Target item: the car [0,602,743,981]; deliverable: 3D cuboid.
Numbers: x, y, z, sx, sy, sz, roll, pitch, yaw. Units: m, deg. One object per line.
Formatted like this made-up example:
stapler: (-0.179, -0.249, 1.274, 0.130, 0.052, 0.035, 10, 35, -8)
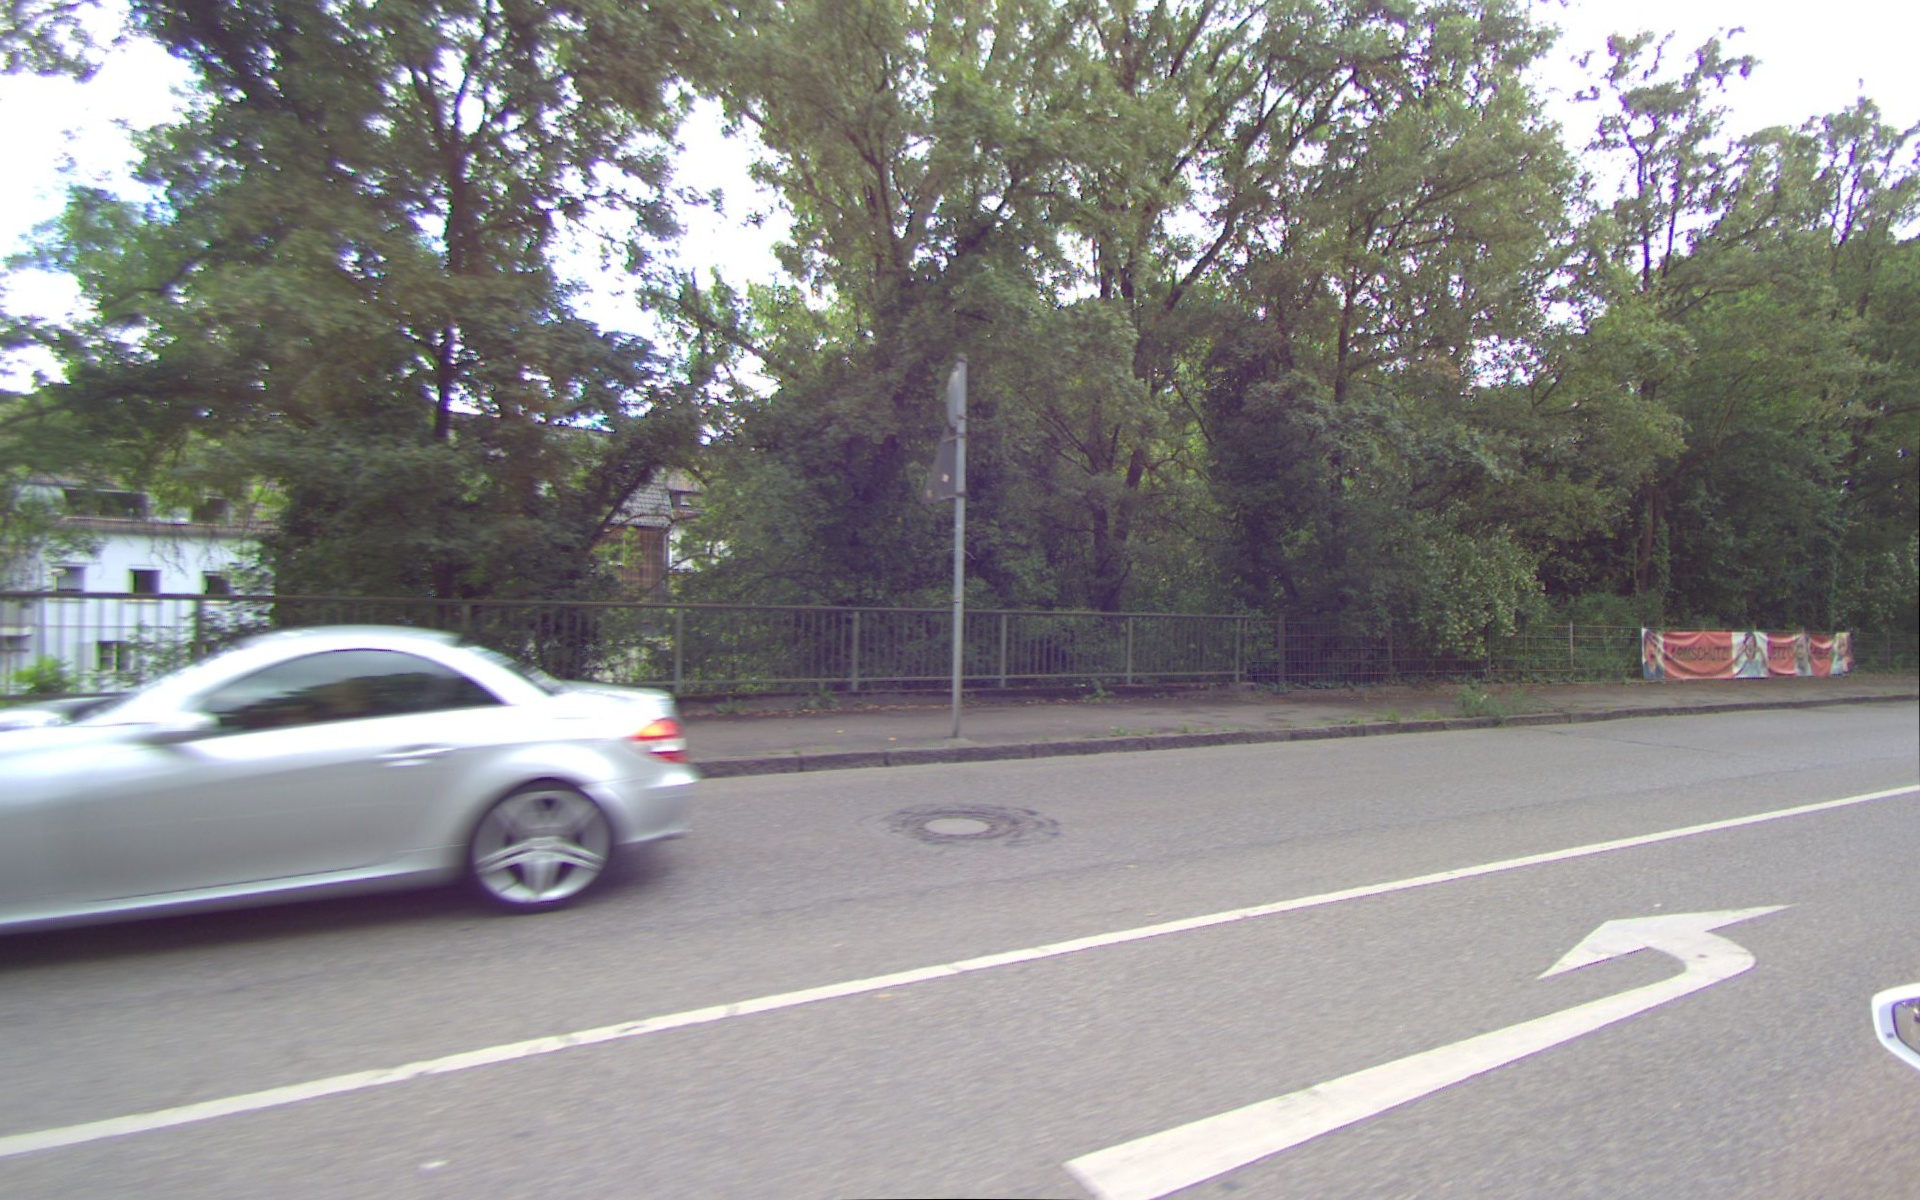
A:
car: (-3.084, 0.720, 4.837, 3.650, 1.355, 1.751, 2, 0, -28)
